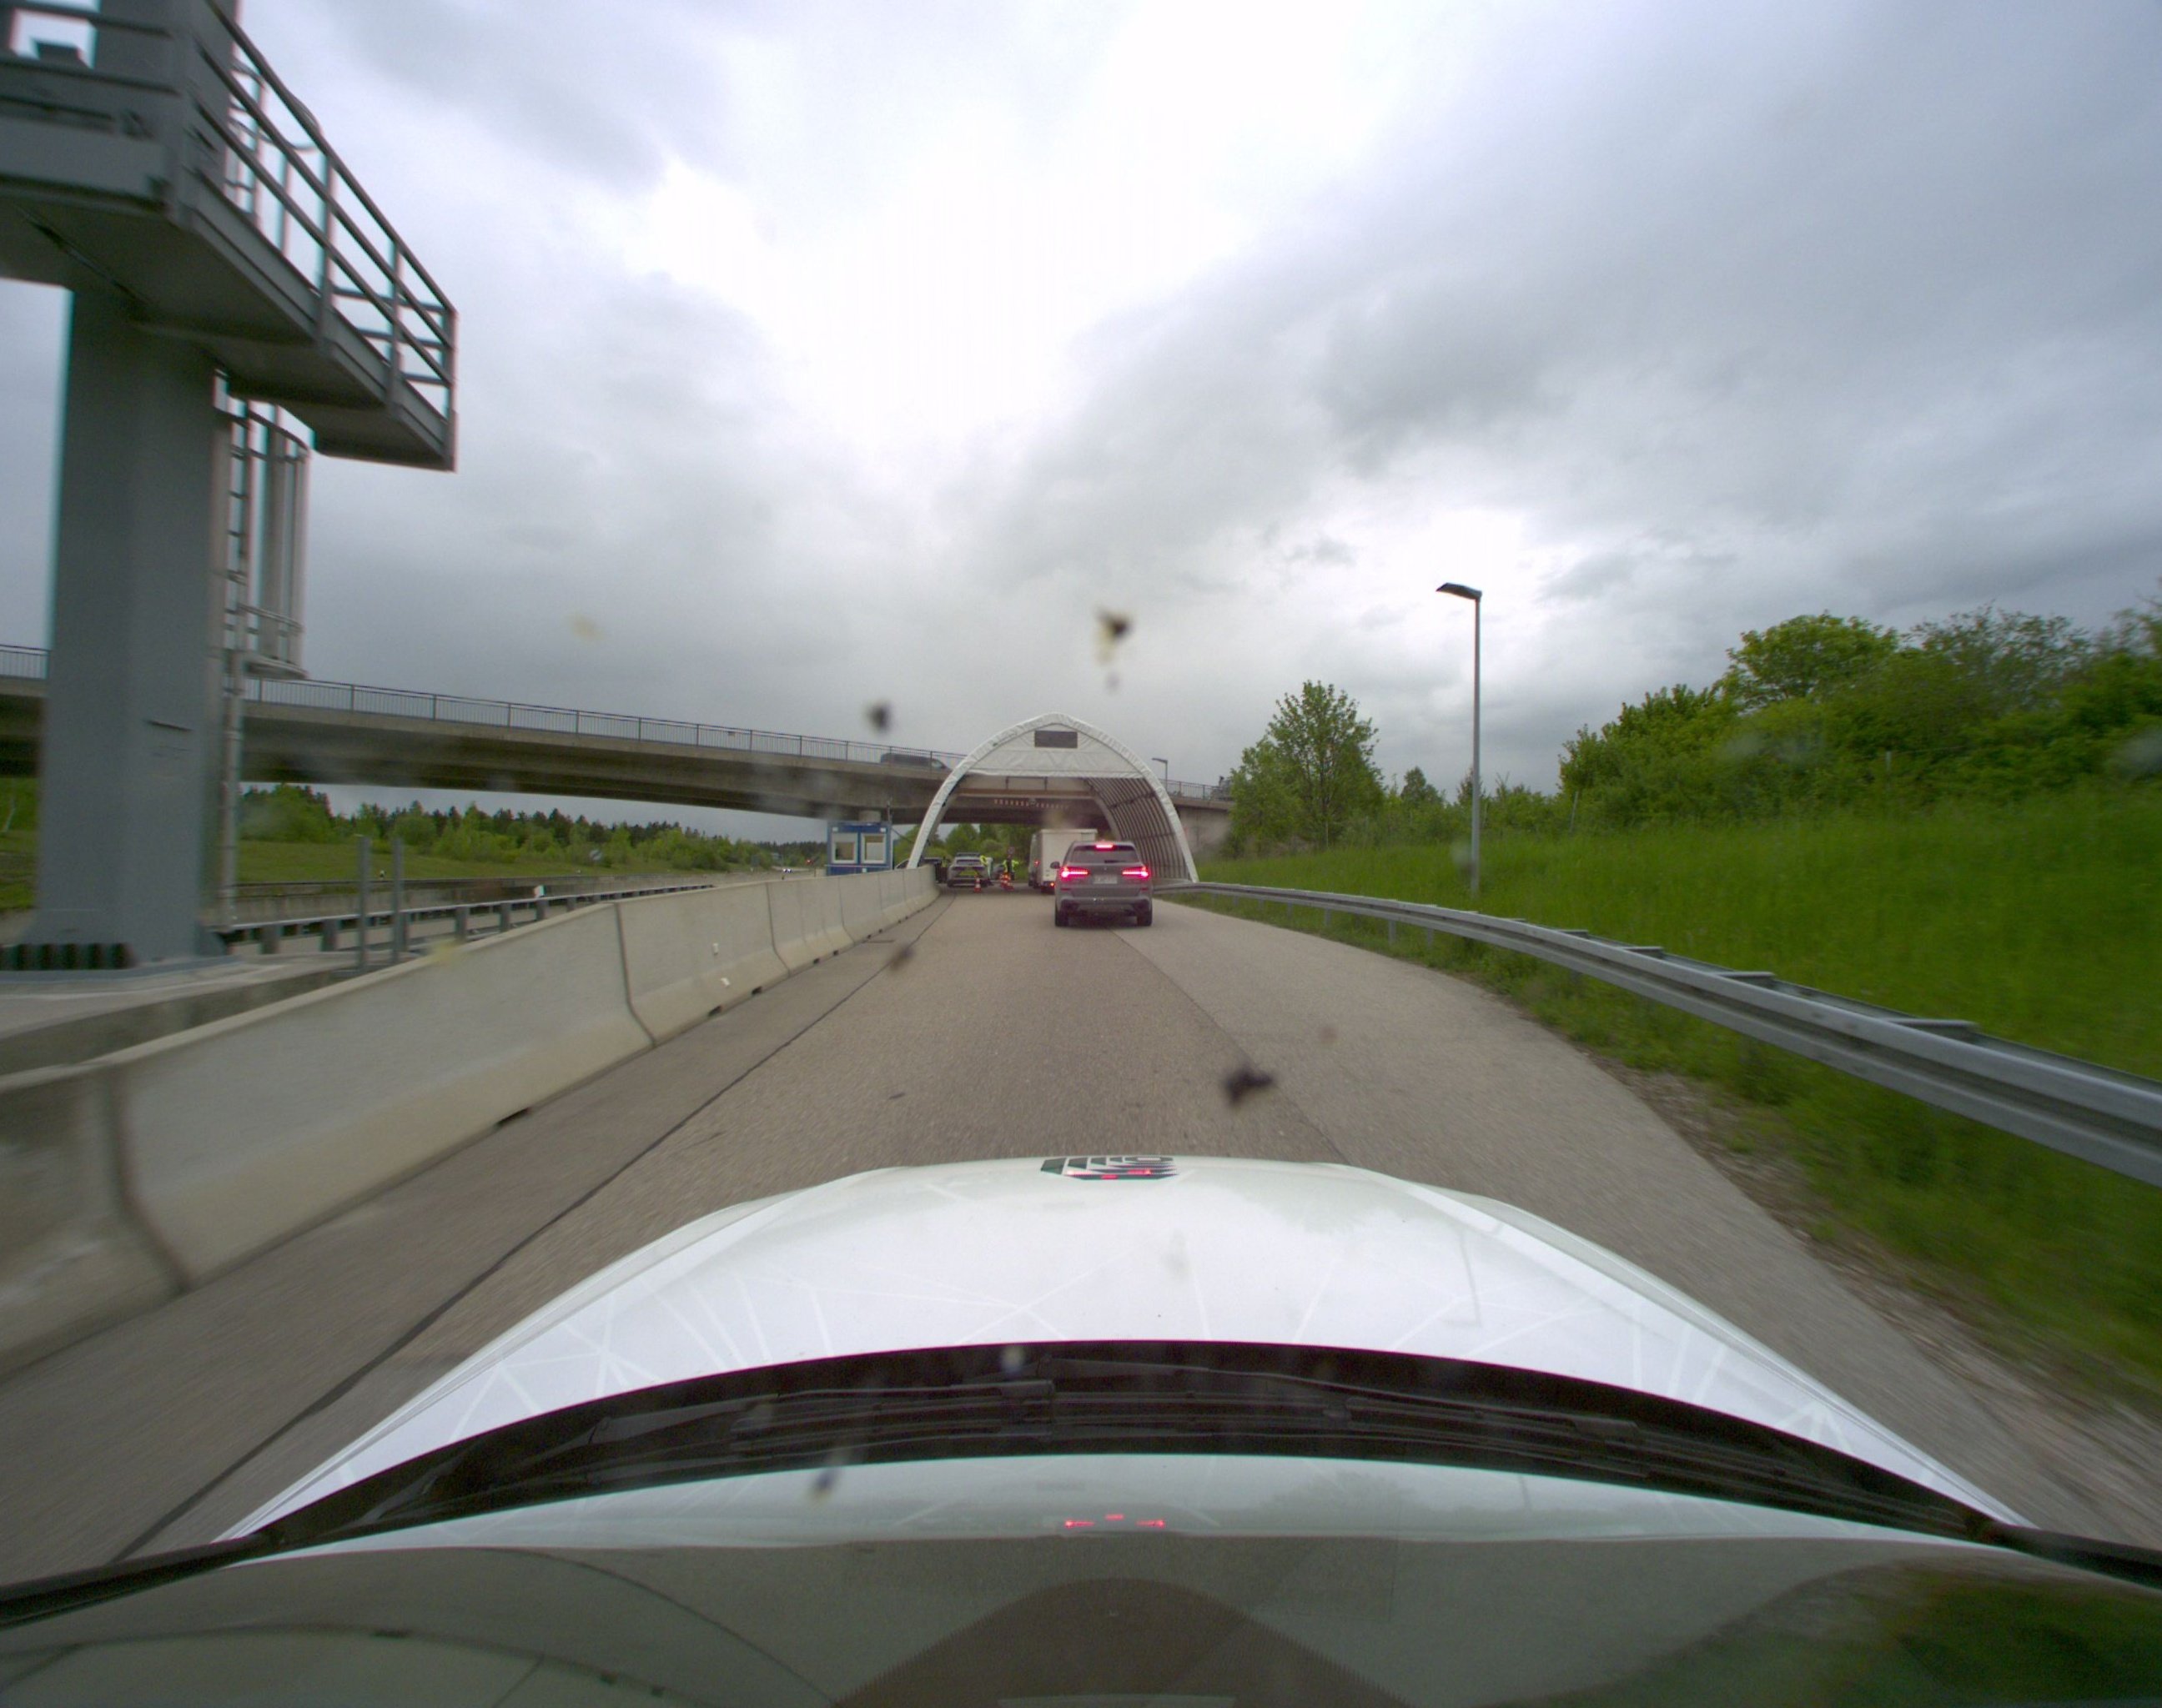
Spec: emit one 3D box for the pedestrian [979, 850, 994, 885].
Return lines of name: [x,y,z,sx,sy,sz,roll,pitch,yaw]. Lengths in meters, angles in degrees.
pedestrian: [-5.003,0.709,42.965,0.720,1.775,0.688,-1,-1,-9]

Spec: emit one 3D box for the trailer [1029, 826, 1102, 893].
trailer: [-0.776,0.291,33.317,2.277,2.431,6.800,0,-1,-7]

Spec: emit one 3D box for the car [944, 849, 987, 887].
car: [-5.758,0.680,40.488,1.993,1.772,3.753,-1,-1,-10]

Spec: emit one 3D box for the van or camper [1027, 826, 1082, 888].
van or camper: [-1.383,0.189,39.570,2.154,2.764,5.857,0,-1,-7]

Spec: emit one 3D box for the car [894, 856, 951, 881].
car: [-12.272,1.117,63.093,3.967,1.854,1.712,-1,-1,6]

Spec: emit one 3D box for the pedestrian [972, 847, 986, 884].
pedestrian: [-5.502,0.617,43.935,0.720,1.945,0.688,-1,-1,-9]

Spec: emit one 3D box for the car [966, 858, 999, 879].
car: [-9.917,1.443,81.932,2.005,2.014,3.963,0,-1,-29]

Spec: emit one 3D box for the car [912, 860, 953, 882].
car: [-10.102,1.171,55.341,1.526,1.442,3.279,0,-1,-35]

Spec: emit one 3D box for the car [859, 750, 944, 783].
car: [-11.486,-5.560,52.201,4.961,1.648,1.978,0,-1,-37]

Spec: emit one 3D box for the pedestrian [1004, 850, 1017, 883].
pedestrian: [-3.826,0.656,44.068,0.648,1.775,0.603,-1,-1,-11]

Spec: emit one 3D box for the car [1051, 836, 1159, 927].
car: [0.386,0.562,17.611,1.989,1.720,3.995,-1,-1,-3]

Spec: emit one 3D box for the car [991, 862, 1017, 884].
car: [-6.904,1.638,72.531,1.706,1.854,3.980,-1,-1,-14]
